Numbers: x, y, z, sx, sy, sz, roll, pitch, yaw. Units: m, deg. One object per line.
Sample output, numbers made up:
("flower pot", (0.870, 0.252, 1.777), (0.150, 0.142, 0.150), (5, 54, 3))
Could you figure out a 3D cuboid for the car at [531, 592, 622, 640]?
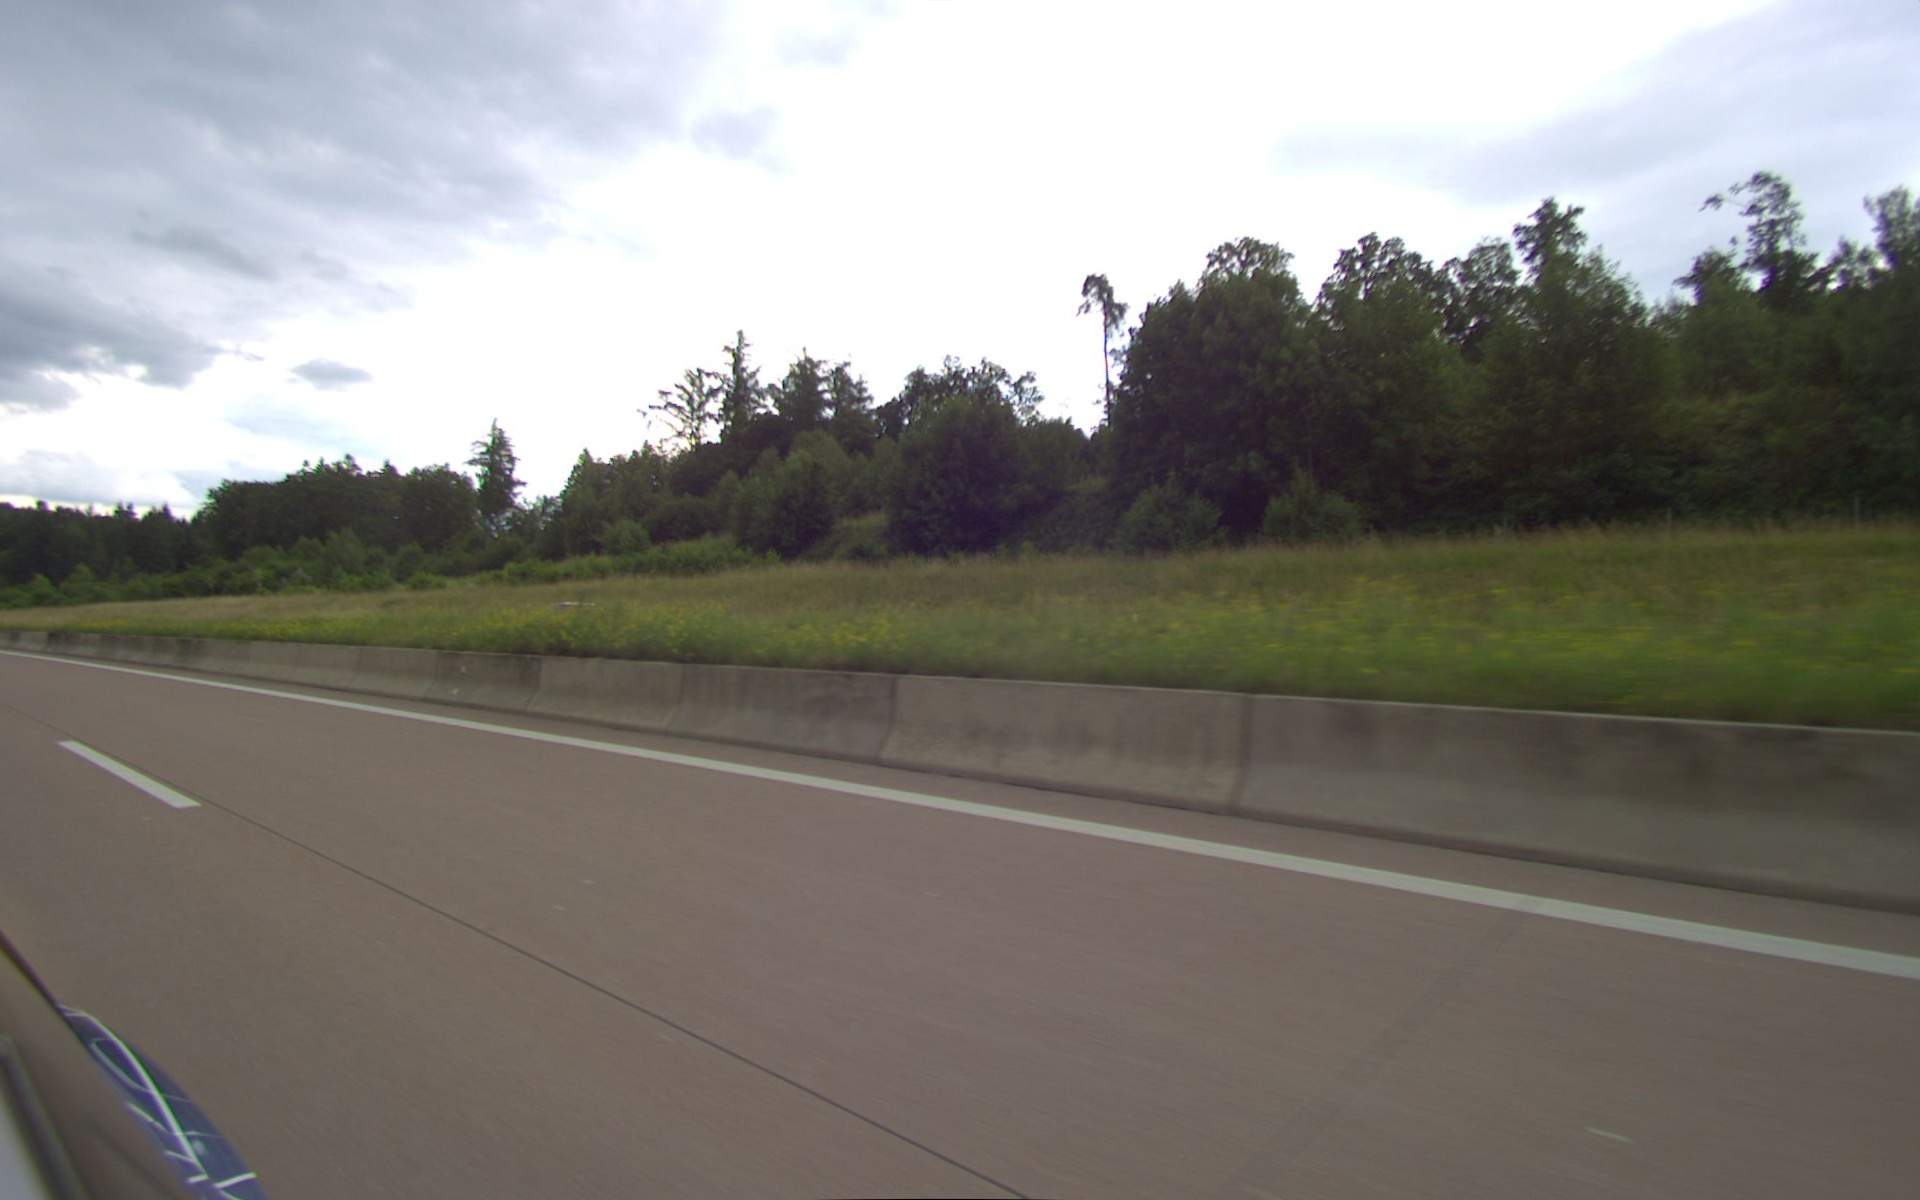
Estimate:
("car", (-15.854, 0.617, 41.791), (4.119, 1.859, 1.813), (1, 1, 41))
